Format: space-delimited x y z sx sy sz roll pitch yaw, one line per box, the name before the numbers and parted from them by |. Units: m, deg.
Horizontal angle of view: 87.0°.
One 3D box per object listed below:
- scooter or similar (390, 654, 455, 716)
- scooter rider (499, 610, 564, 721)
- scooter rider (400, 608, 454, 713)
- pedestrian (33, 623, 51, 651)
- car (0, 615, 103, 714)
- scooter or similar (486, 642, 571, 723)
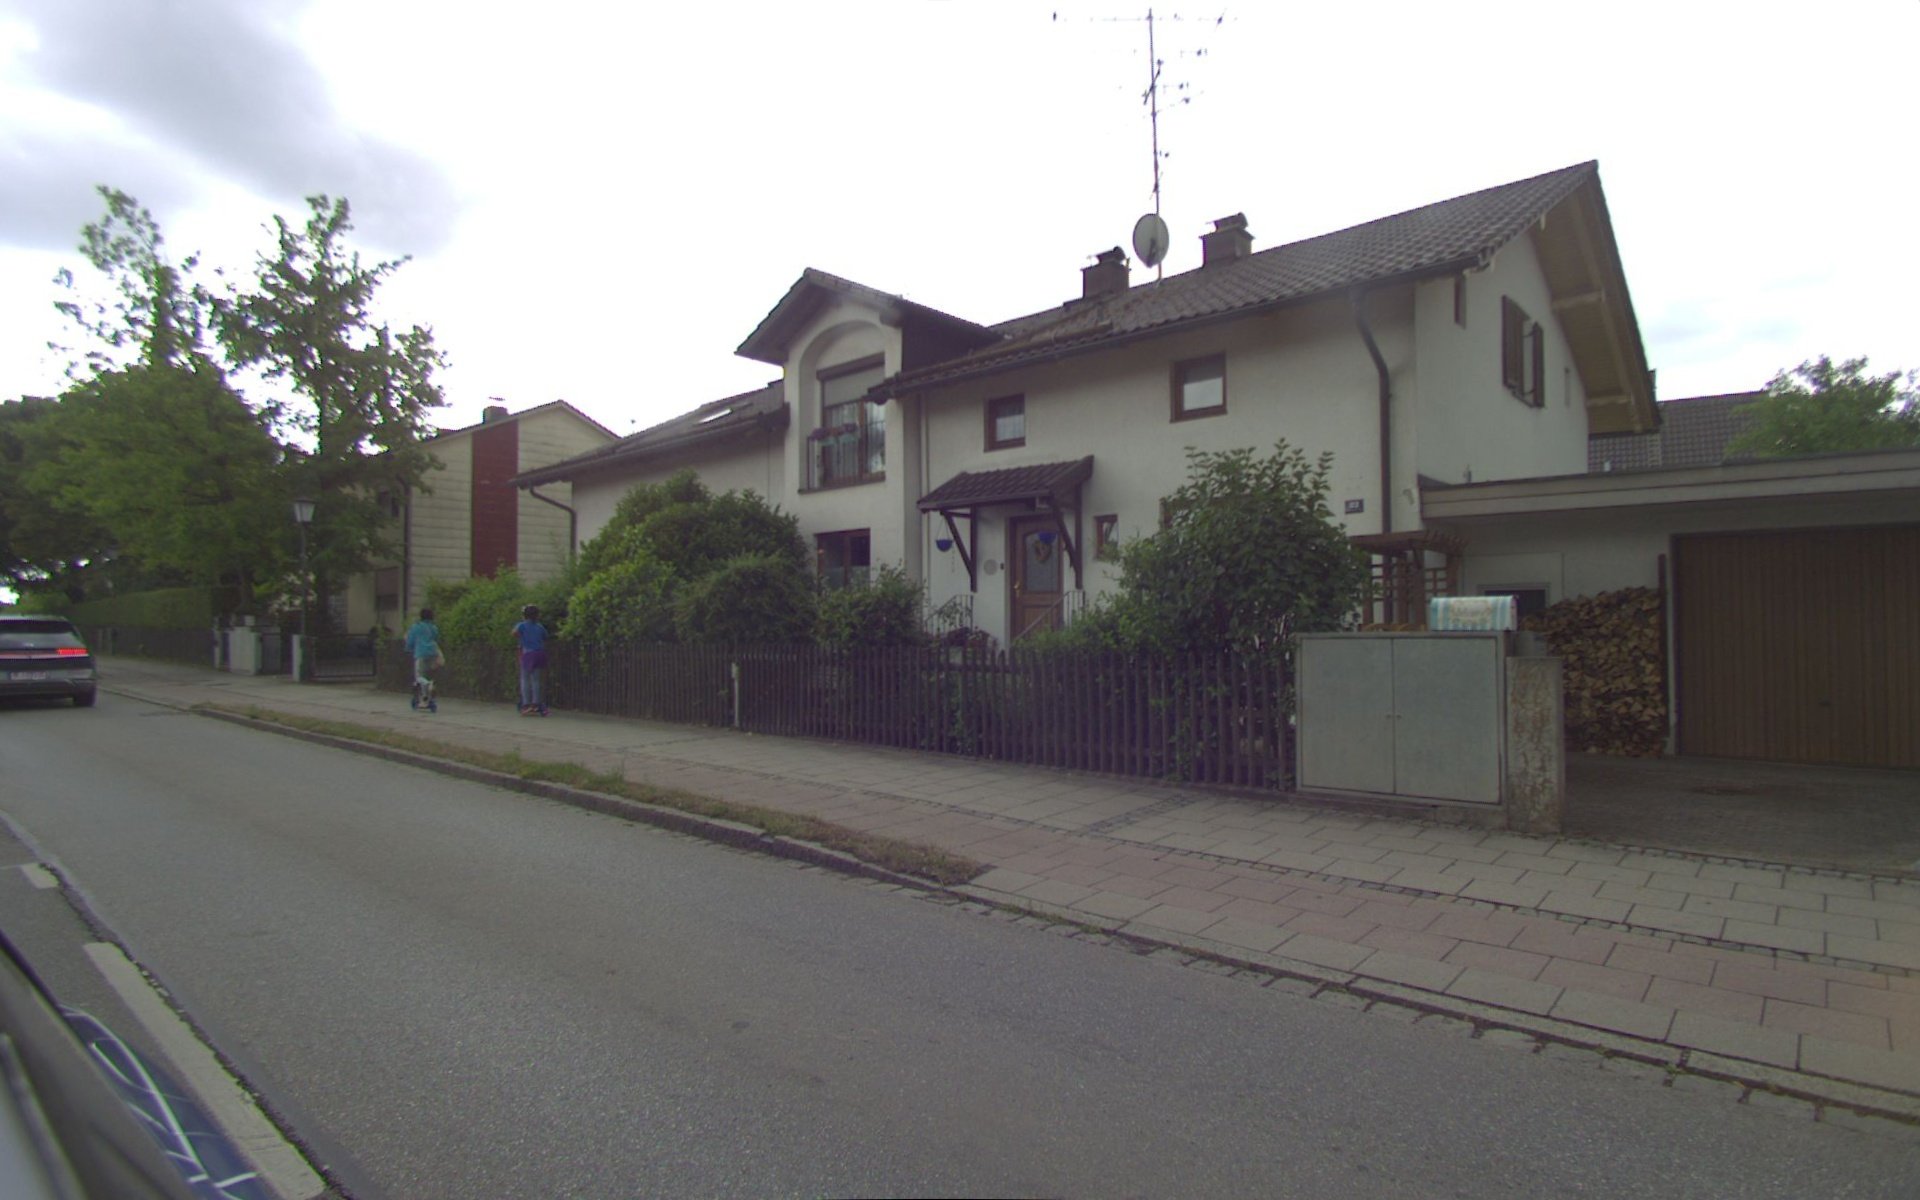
scooter or similar | -7.975 1.245 15.003 1.061 0.856 0.516 -2 -1 42
scooter rider | -5.921 0.881 13.983 0.580 1.484 0.655 -2 -2 41
scooter rider | -7.830 0.872 14.863 0.716 1.501 0.497 -2 -1 42
pedestrian | -47.460 1.897 52.312 0.563 1.448 0.623 -2 -2 41
car | -16.830 1.083 17.875 4.309 1.587 1.910 -1 -2 41
scooter or similar | -5.988 1.116 14.028 1.178 1.045 0.654 -2 -2 42
